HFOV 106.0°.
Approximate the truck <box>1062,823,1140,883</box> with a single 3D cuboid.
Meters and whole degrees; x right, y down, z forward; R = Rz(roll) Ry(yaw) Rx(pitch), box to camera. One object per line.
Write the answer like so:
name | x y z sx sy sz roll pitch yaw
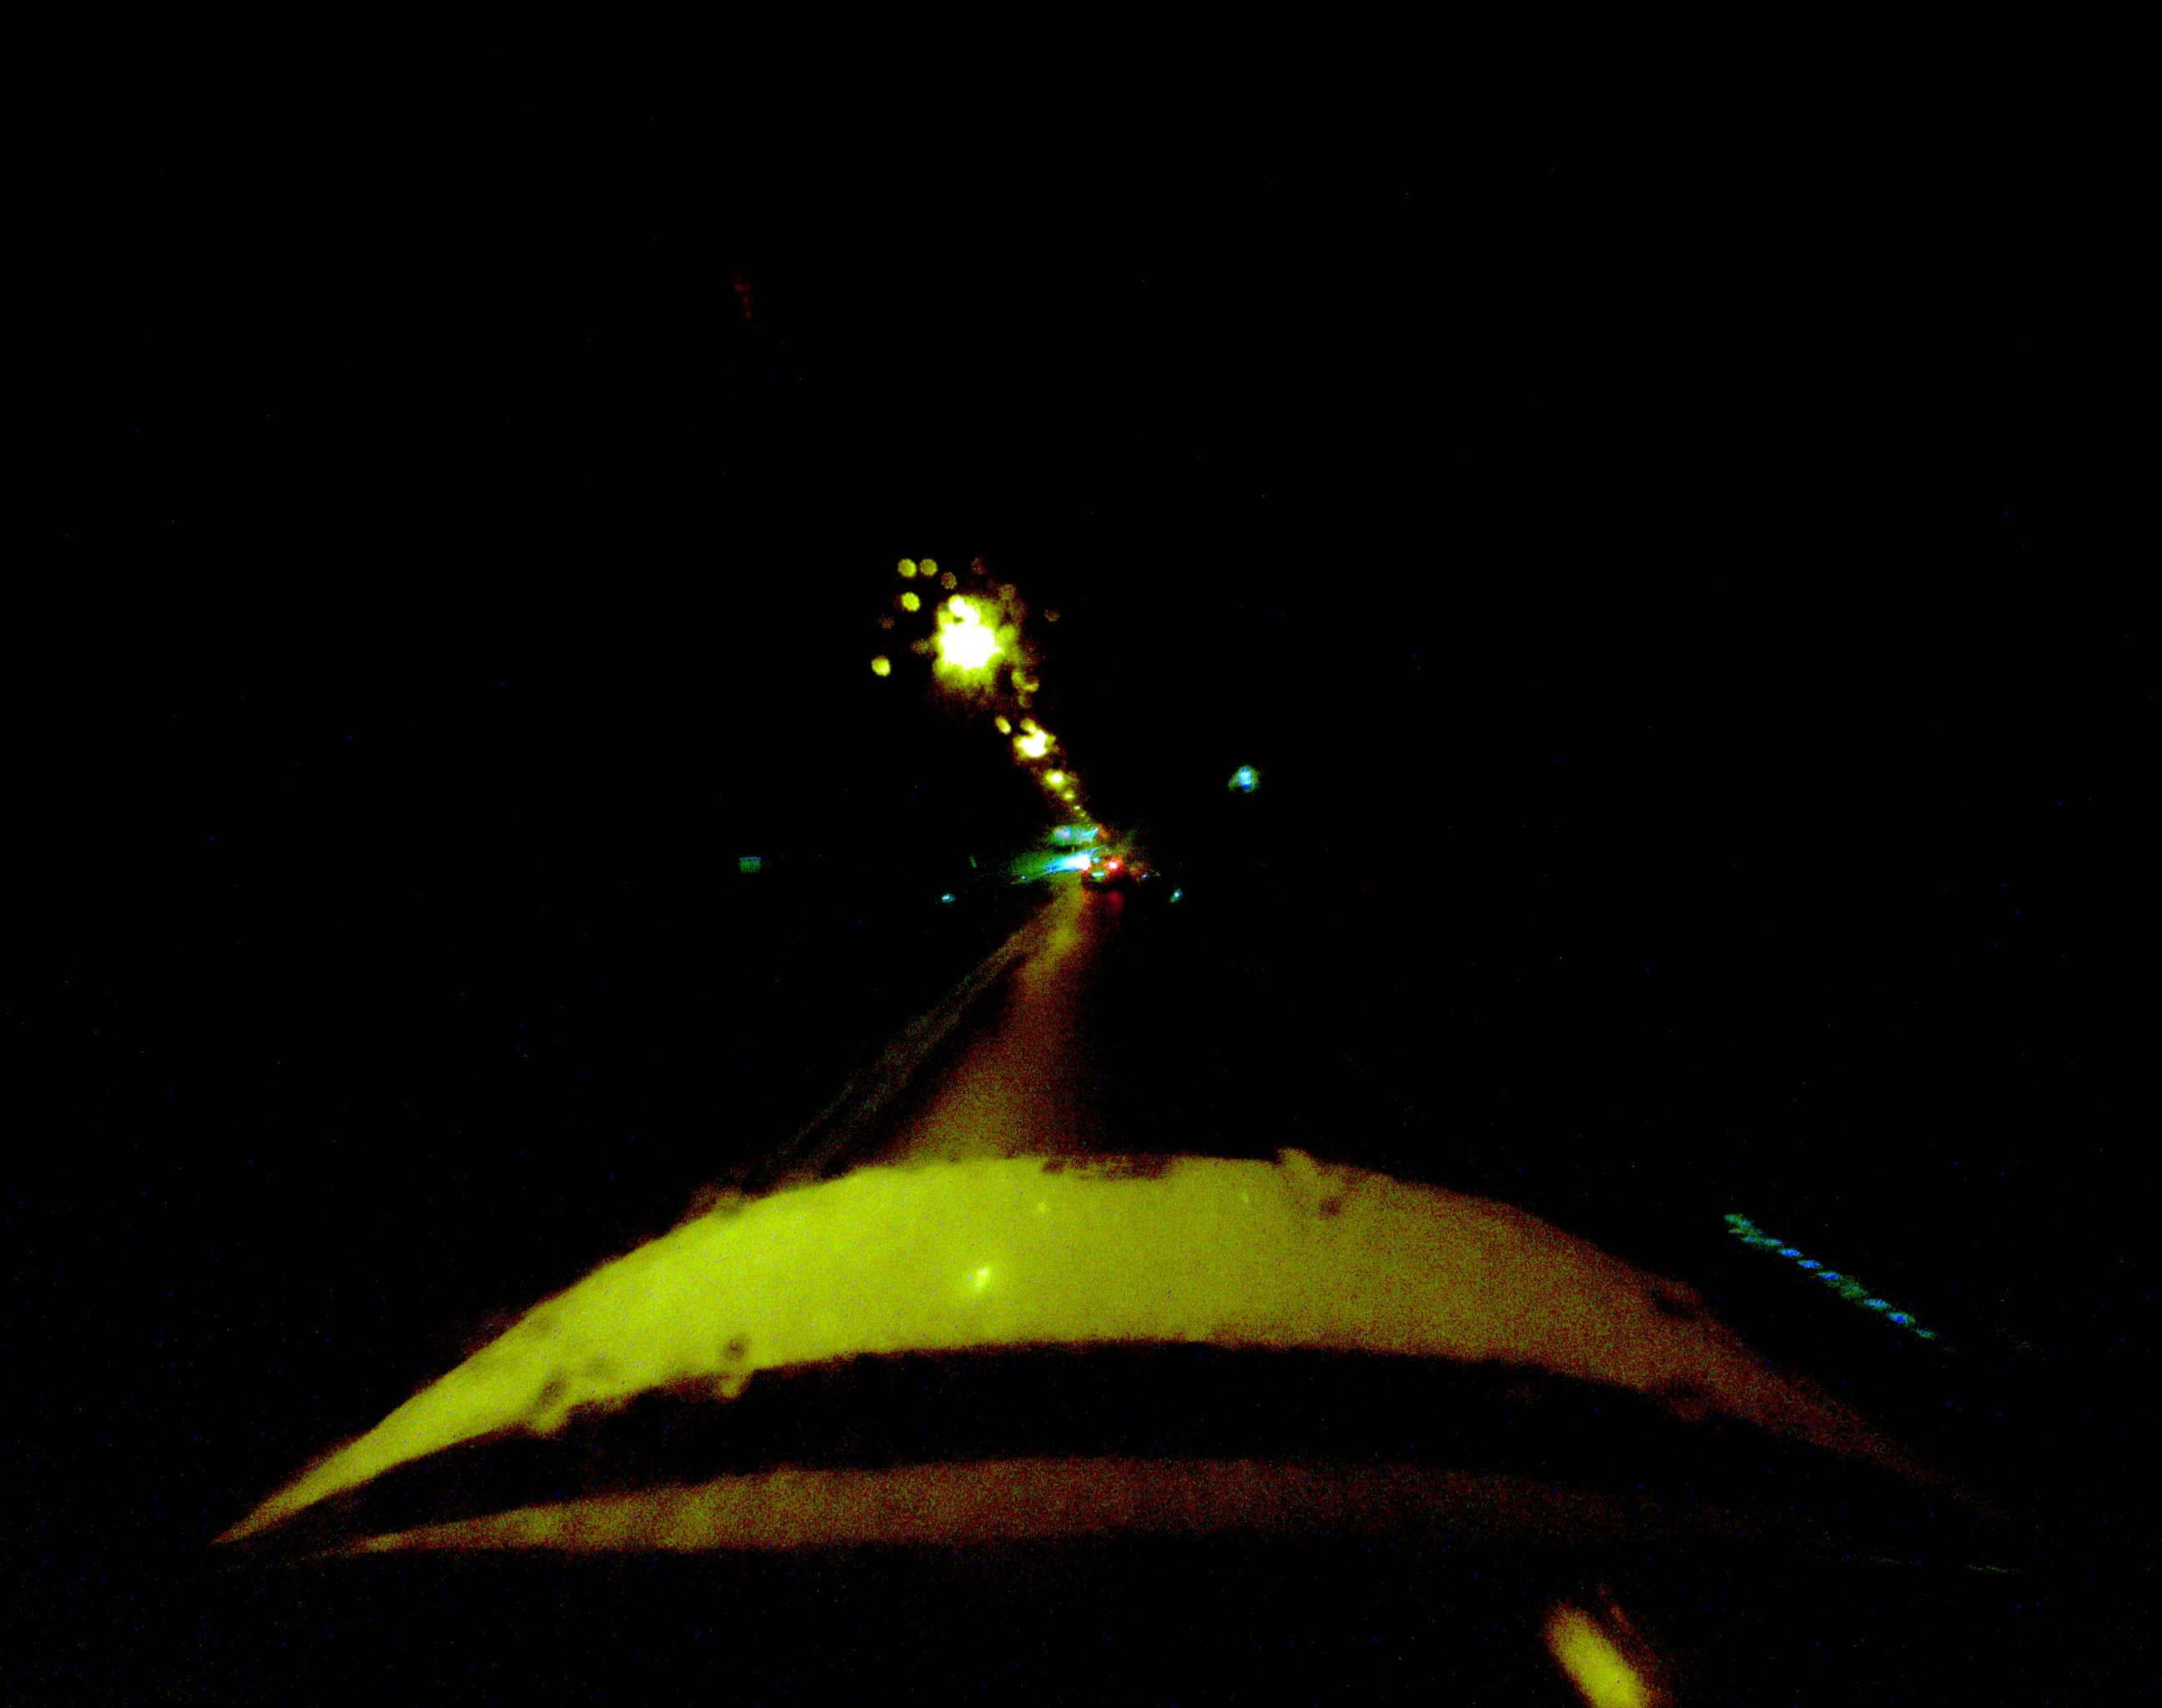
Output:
truck | 1.100 -0.016 41.777 3.521 2.693 8.960 -1 0 2
